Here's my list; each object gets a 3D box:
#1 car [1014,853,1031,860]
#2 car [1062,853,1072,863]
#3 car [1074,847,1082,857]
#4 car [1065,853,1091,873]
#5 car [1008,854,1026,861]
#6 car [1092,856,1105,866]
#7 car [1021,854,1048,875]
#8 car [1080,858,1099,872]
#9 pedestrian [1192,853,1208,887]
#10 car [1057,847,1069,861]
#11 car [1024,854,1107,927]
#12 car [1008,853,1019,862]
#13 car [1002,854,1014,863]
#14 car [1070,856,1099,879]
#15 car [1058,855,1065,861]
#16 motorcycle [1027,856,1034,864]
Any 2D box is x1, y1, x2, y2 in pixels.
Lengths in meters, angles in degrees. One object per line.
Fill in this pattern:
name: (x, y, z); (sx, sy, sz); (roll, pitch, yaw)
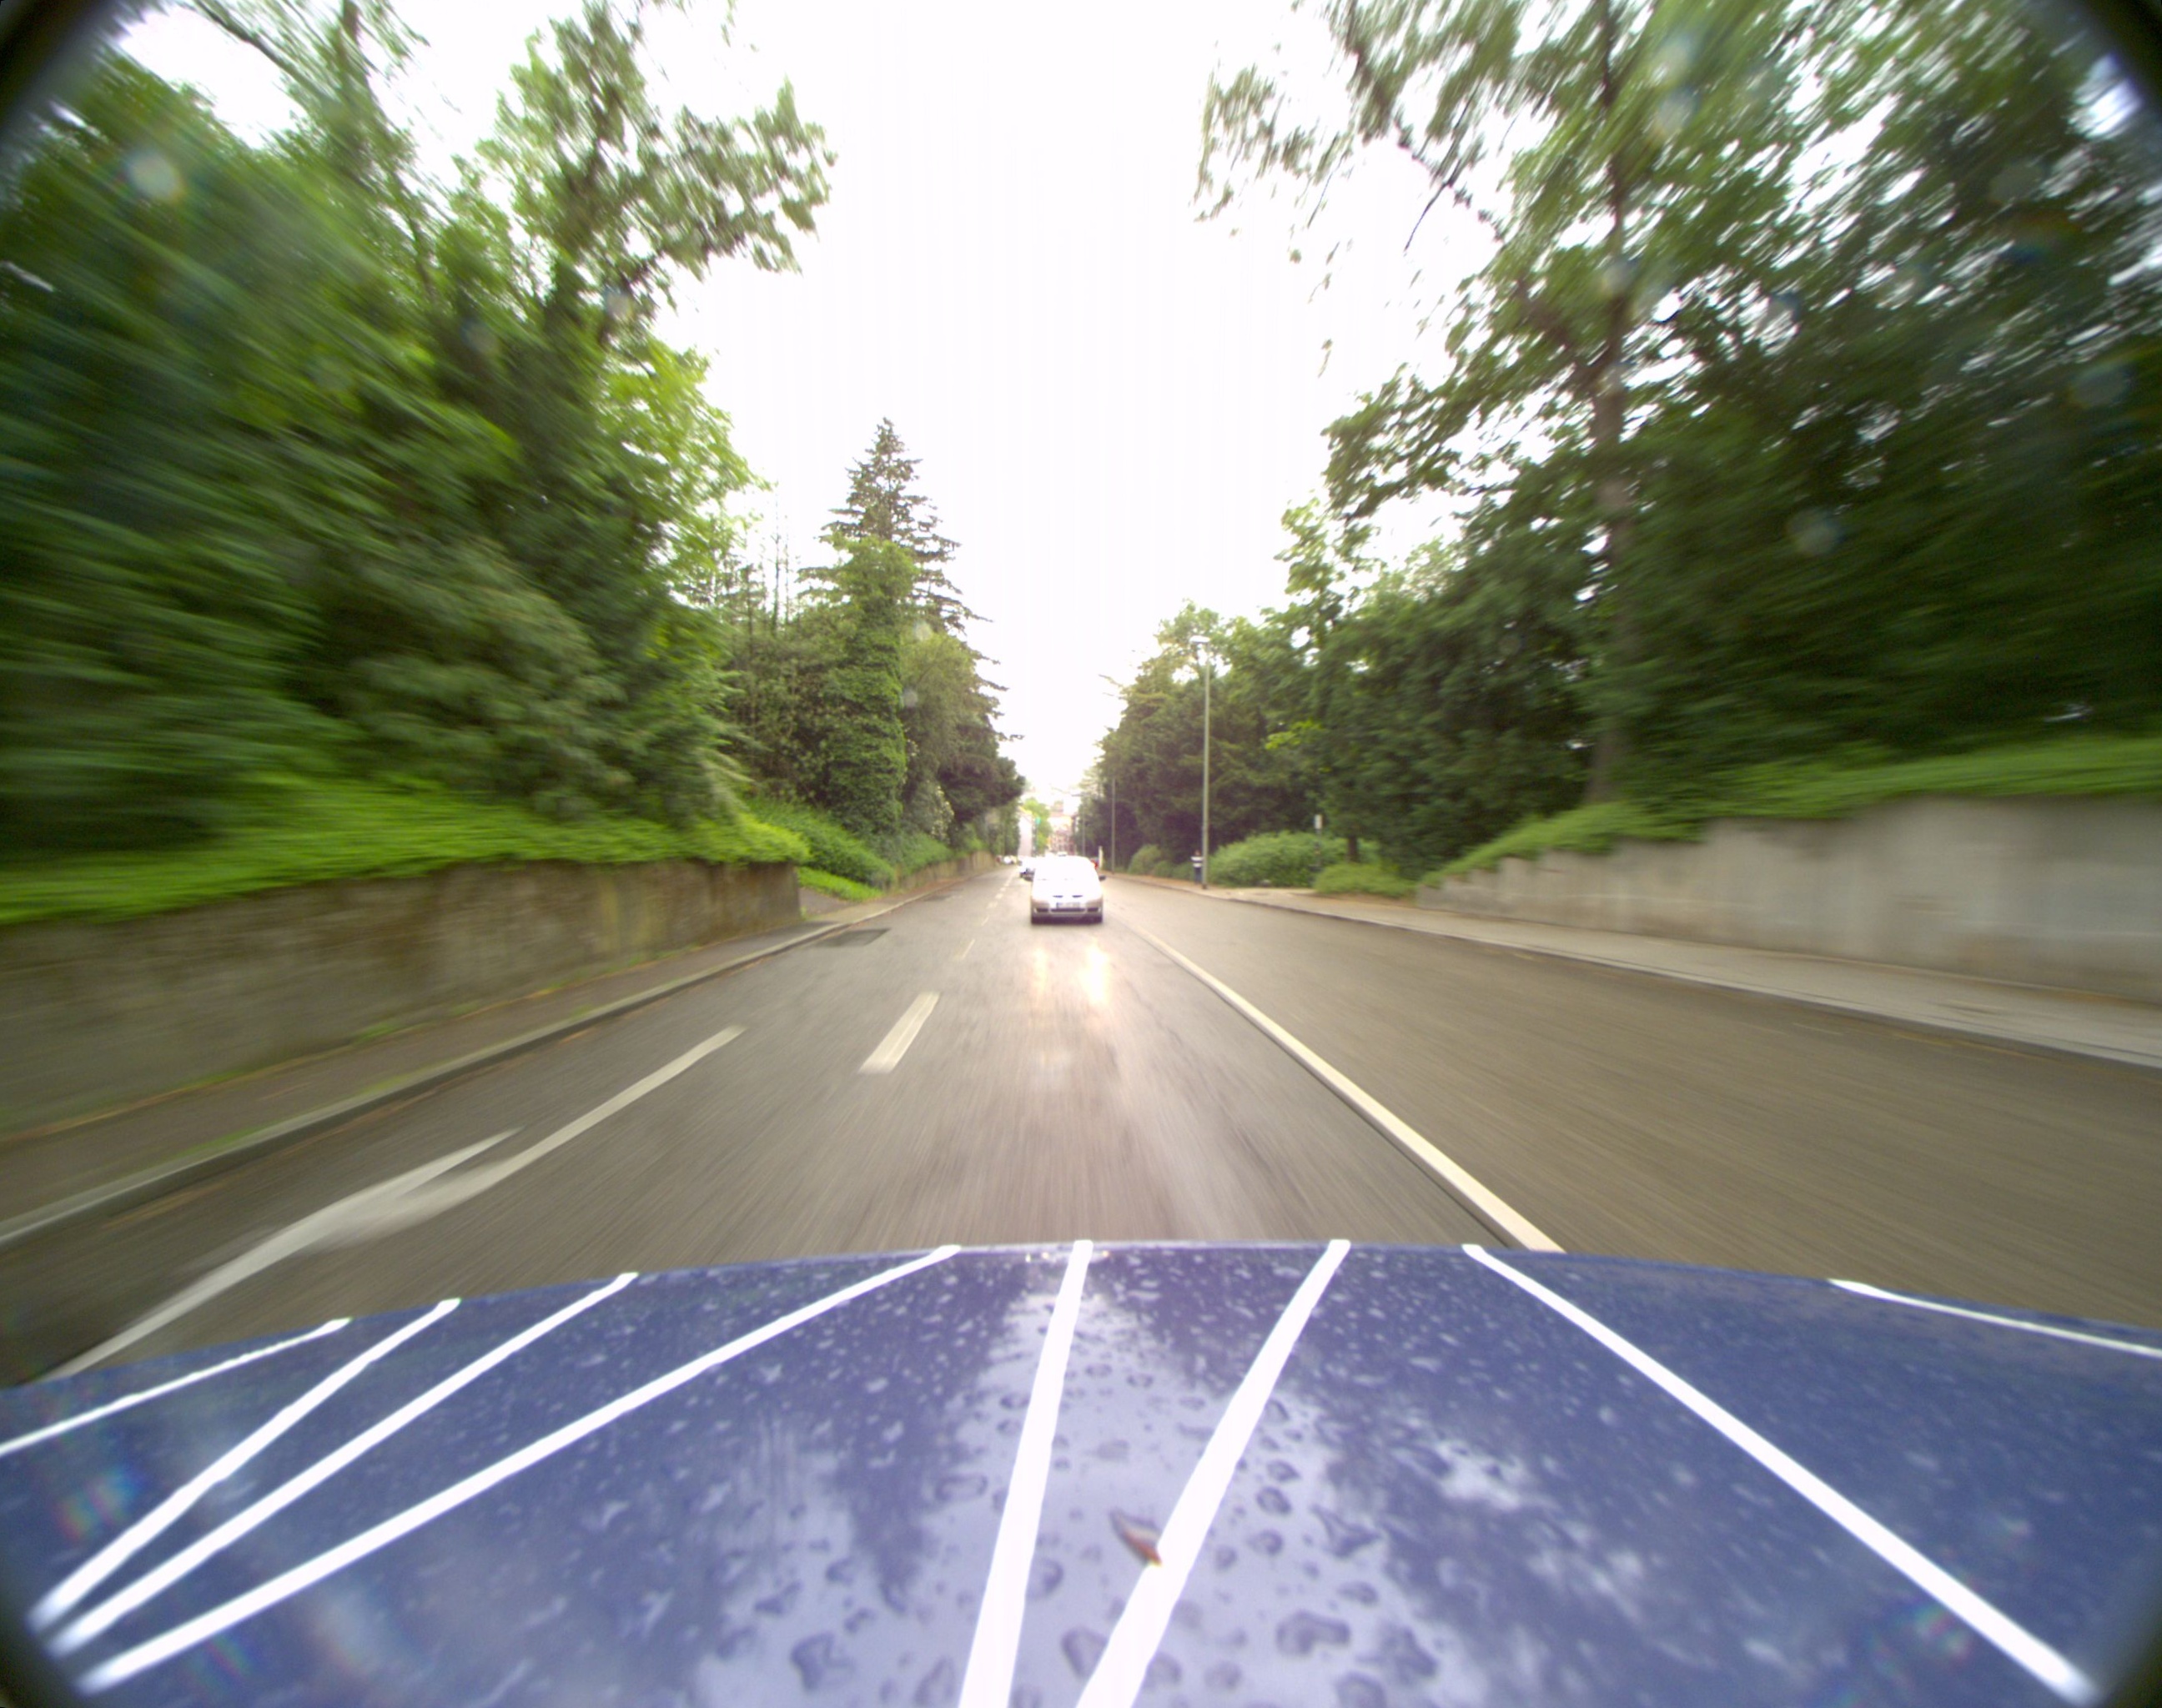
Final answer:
car: (-15.387, 0.761, 198.968); (4.194, 1.565, 1.803); (4, 0, -1)
car: (-2.453, 0.684, 130.211); (1.649, 1.595, 4.185); (3, 0, -1)
car: (-0.831, -0.585, 206.029); (2.123, 2.536, 5.443); (3, 0, -1)
car: (-0.305, 0.742, 66.212); (1.836, 1.701, 3.998); (-1, 0, -5)
car: (-15.094, 0.792, 179.700); (4.194, 1.408, 1.803); (2, 0, -1)
car: (2.661, 1.029, 117.828); (1.727, 1.450, 4.395); (1, 0, -3)
car: (-3.521, 0.783, 58.327); (1.999, 1.603, 3.966); (0, 0, -2)
car: (0.983, 1.219, 85.325); (1.631, 1.490, 3.926); (-2, 0, -6)
pedestrian: (5.761, 0.757, 36.803); (0.707, 1.634, 0.714); (0, 1, 2)
car: (-3.347, 0.025, 141.610); (2.123, 2.536, 5.443); (3, 0, -1)
car: (-0.296, 0.810, 18.972); (1.826, 1.603, 4.189); (0, 0, 1)
car: (-13.221, 0.715, 149.051); (1.770, 1.614, 4.678); (1, 1, -2)
car: (-13.240, 0.768, 138.430); (1.743, 1.469, 4.739); (3, 0, 0)
car: (0.217, 0.921, 52.771); (1.680, 1.487, 3.458); (0, 0, -4)
car: (-5.533, 1.118, 217.148); (1.765, 1.482, 4.000); (0, 0, -1)
motorcycle: (-7.453, 0.856, 112.112); (0.779, 1.120, 2.299); (-1, 0, 1)
